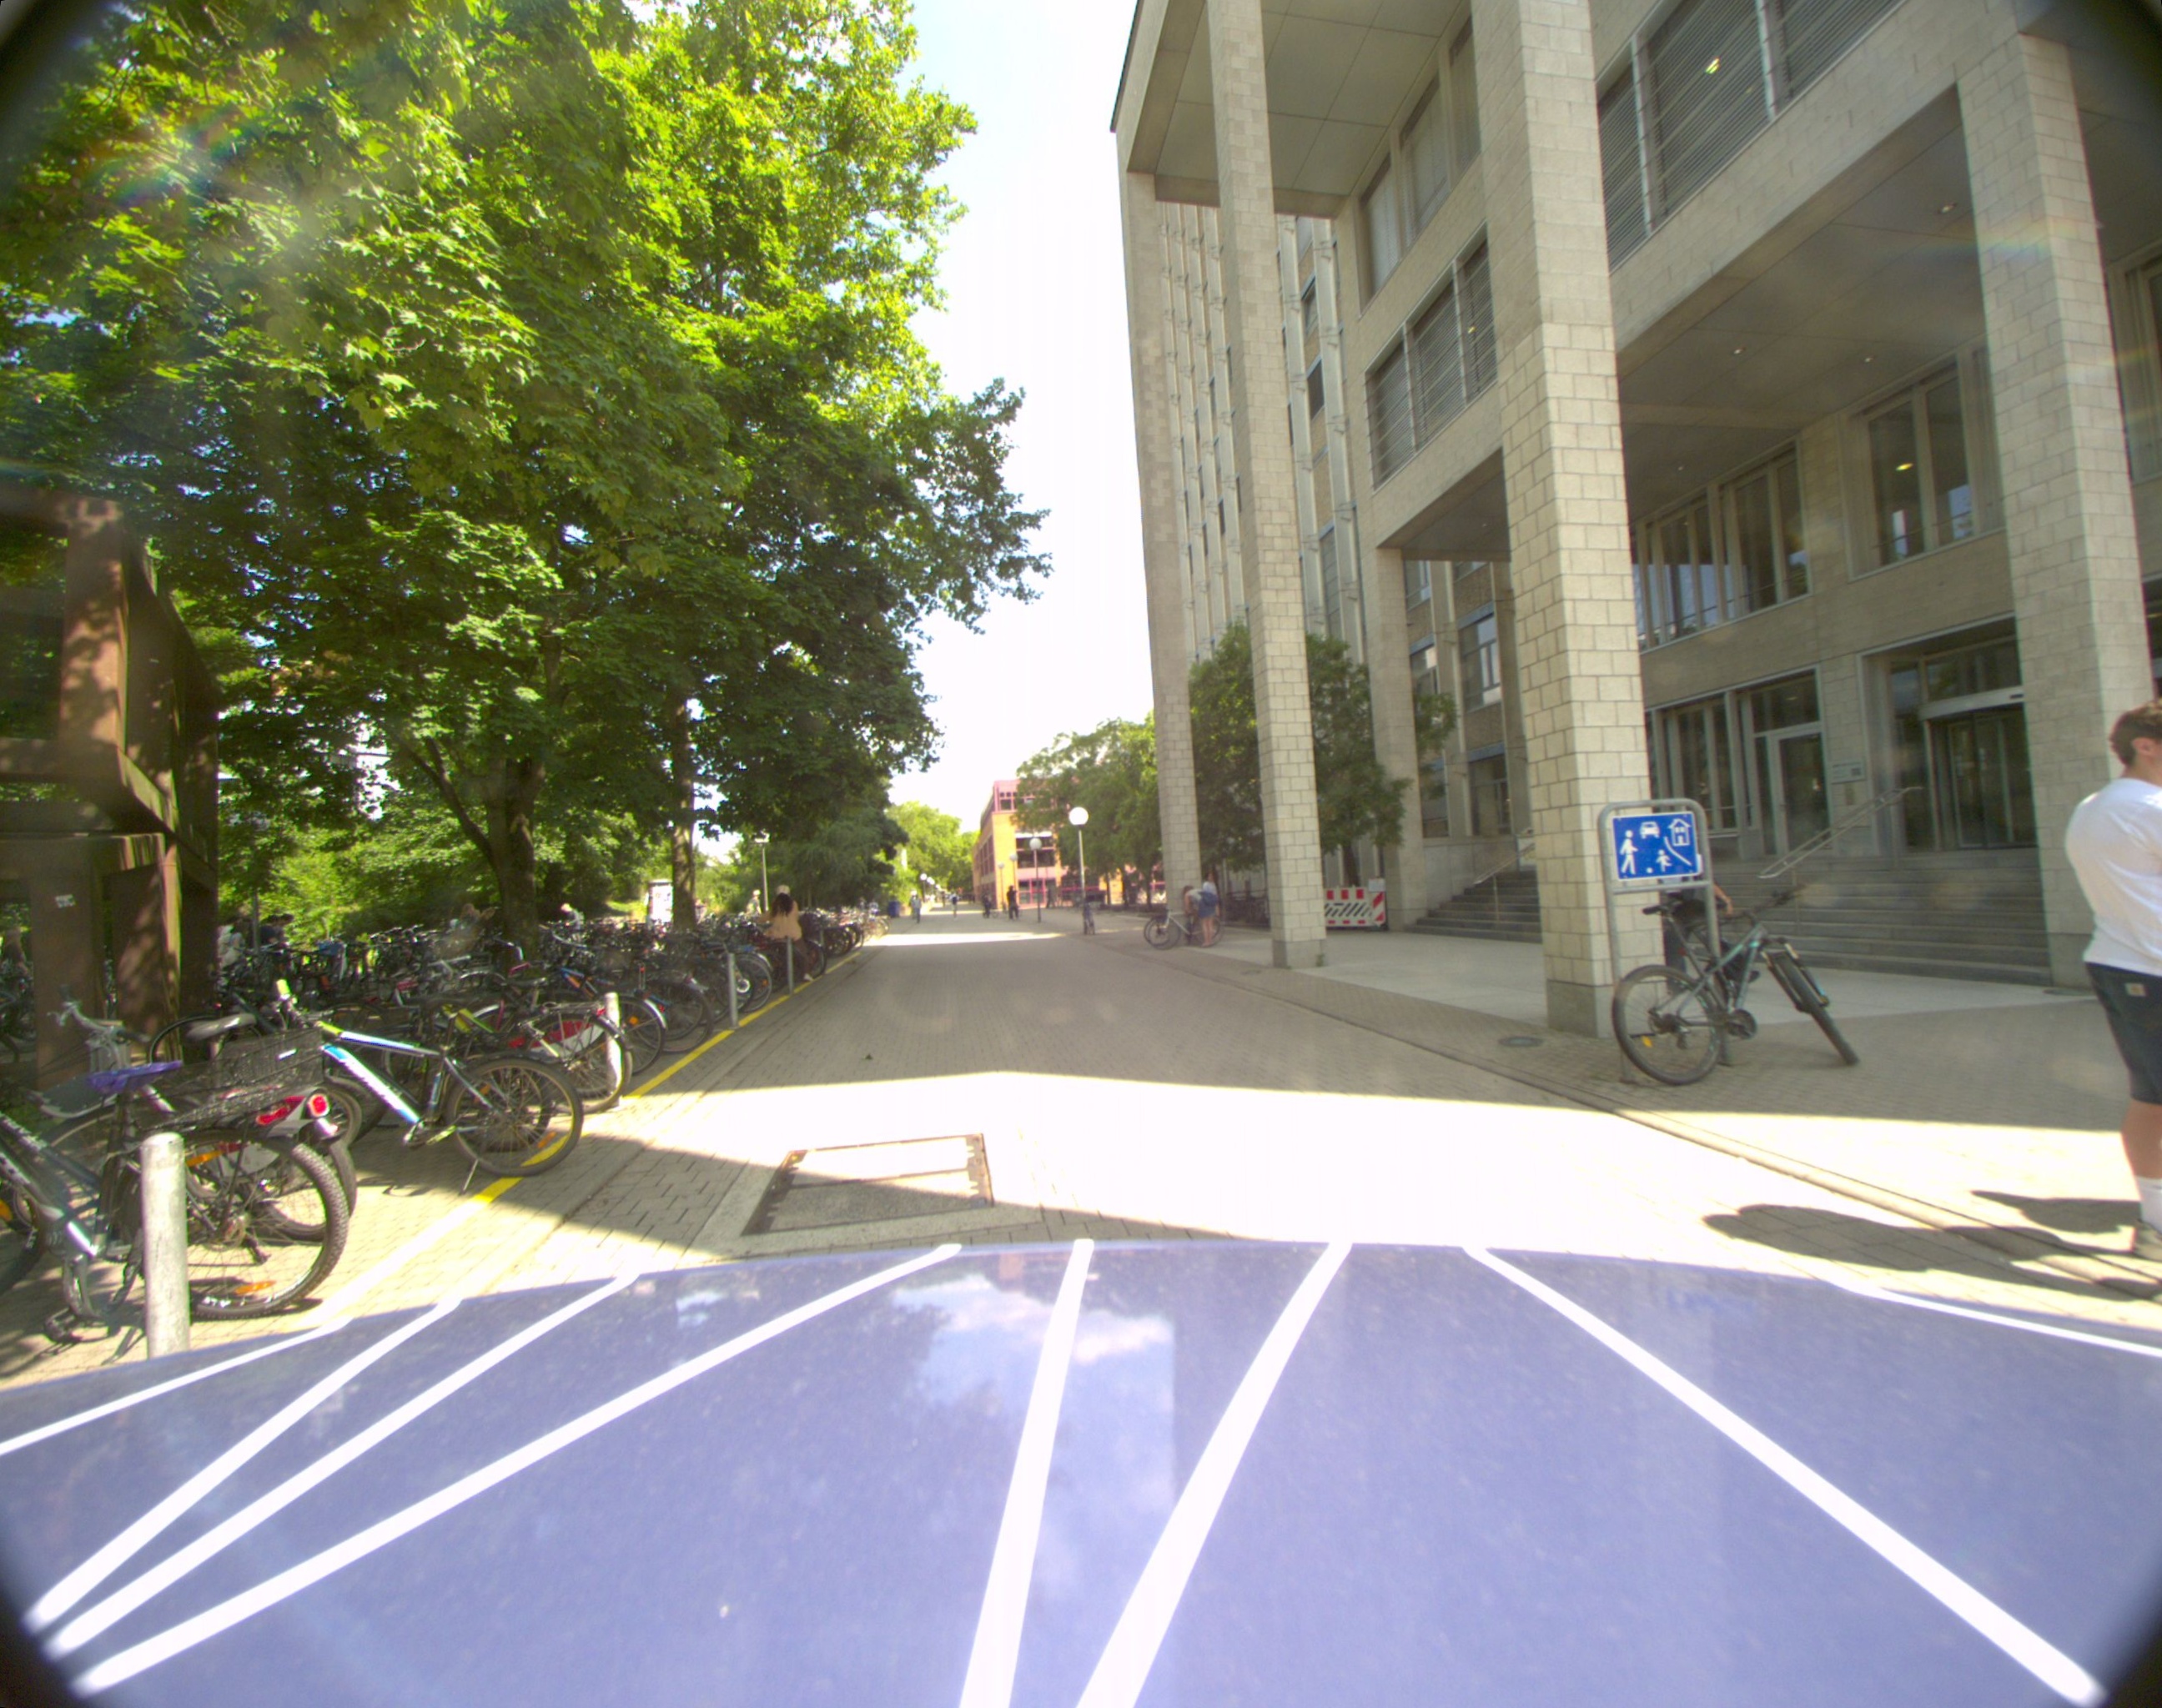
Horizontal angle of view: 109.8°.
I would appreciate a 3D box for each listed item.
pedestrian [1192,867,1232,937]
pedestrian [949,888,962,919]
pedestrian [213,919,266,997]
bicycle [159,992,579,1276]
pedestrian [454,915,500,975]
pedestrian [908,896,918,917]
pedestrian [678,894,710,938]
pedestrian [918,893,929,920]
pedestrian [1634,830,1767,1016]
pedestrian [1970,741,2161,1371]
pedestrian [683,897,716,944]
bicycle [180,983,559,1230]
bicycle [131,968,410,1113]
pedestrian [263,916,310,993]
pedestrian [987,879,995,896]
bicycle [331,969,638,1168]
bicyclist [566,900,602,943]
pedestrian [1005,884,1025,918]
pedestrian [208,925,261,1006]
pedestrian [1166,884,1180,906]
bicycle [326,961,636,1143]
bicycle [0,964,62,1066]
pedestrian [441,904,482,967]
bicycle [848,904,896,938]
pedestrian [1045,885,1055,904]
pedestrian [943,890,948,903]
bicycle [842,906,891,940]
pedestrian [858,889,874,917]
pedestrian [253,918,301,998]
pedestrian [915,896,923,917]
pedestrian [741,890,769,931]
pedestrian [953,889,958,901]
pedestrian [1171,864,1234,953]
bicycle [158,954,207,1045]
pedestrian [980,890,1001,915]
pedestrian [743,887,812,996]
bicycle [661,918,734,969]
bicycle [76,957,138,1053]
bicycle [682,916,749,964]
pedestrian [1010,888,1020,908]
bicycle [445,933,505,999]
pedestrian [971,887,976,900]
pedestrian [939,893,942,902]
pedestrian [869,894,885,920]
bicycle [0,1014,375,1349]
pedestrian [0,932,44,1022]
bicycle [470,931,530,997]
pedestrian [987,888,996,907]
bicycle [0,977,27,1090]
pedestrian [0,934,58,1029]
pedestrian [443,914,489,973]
[{"bbox_3d":[3.407,1.251,19.799,0.749,1.729,0.938,-4,-2,-2],"label":"pedestrian"},{"bbox_3d":[-7.556,2.981,45.766,0.565,1.753,0.802,-3,1,-21],"label":"pedestrian"},{"bbox_3d":[-20.288,2.492,18.339,0.722,1.764,0.743,-2,-2,-40],"label":"pedestrian"},{"bbox_3d":[-3.378,1.301,3.718,1.441,1.079,0.460,-2,0,-12],"label":"bicycle"},{"bbox_3d":[-16.513,2.482,20.776,0.743,1.559,0.722,-3,-1,32],"label":"pedestrian"},{"bbox_3d":[-12.868,4.044,58.329,0.691,1.503,0.514,-2,1,-12],"label":"pedestrian"},{"bbox_3d":[-14.399,2.301,28.289,0.744,1.559,0.721,-3,-1,-2],"label":"pedestrian"},{"bbox_3d":[-9.226,3.085,44.526,0.515,1.503,0.691,-2,1,-8],"label":"pedestrian"},{"bbox_3d":[6.139,0.658,7.550,0.686,1.723,0.689,-3,-2,-25],"label":"pedestrian"},{"bbox_3d":[3.521,0.589,2.307,0.686,1.879,0.687,-4,-2,-13],"label":"pedestrian"},{"bbox_3d":[-13.178,2.277,26.249,0.744,1.559,0.721,-3,-1,-2],"label":"pedestrian"},{"bbox_3d":[-3.780,1.318,4.128,1.474,1.079,0.460,-2,0,-9],"label":"bicycle"},{"bbox_3d":[-6.940,1.586,6.552,1.826,1.071,0.464,-2,0,-2],"label":"bicycle"},{"bbox_3d":[-19.188,2.403,18.367,0.722,1.764,0.743,-2,-2,-44],"label":"pedestrian"},{"bbox_3d":[-9.805,3.627,82.984,0.744,1.753,0.974,-2,1,-11],"label":"pedestrian"},{"bbox_3d":[-3.785,1.345,4.900,1.515,1.079,0.482,-2,0,-5],"label":"bicycle"},{"bbox_3d":[-17.251,2.329,26.395,0.743,1.437,0.805,-4,-2,37],"label":"bicyclist"},{"bbox_3d":[-3.564,2.542,41.107,0.743,1.753,0.975,-2,1,13],"label":"pedestrian"},{"bbox_3d":[-19.660,2.564,17.666,0.722,1.764,0.743,-2,-2,-42],"label":"pedestrian"},{"bbox_3d":[7.676,3.444,63.563,0.973,1.753,0.745,-2,1,16],"label":"pedestrian"},{"bbox_3d":[-4.150,1.353,5.335,1.696,1.079,0.482,-2,0,-5],"label":"bicycle"},{"bbox_3d":[-14.221,2.130,10.240,1.840,1.163,0.414,-4,-2,41],"label":"bicycle"},{"bbox_3d":[-18.202,2.382,22.313,0.743,1.778,0.722,-4,-1,36],"label":"pedestrian"},{"bbox_3d":[-7.802,2.497,28.431,1.689,1.143,0.551,-2,-4,-15],"label":"bicycle"},{"bbox_3d":[-2.557,3.280,61.847,0.691,1.503,0.514,-2,1,-12],"label":"pedestrian"},{"bbox_3d":[-18.569,5.822,104.006,0.668,1.753,0.803,-2,1,-12],"label":"pedestrian"},{"bbox_3d":[-7.840,2.507,27.801,1.689,1.143,0.551,-2,-4,-15],"label":"bicycle"},{"bbox_3d":[-12.148,2.751,42.909,0.689,1.503,0.516,-1,2,37],"label":"pedestrian"},{"bbox_3d":[-18.765,2.411,17.732,0.655,1.764,0.722,-4,-2,42],"label":"pedestrian"},{"bbox_3d":[-11.779,3.813,55.250,0.515,1.502,0.691,-2,-2,-8],"label":"pedestrian"},{"bbox_3d":[-12.785,2.215,29.820,0.744,1.559,0.721,-3,-1,-2],"label":"pedestrian"},{"bbox_3d":[-18.799,6.126,114.121,0.565,1.753,0.803,-2,1,-4],"label":"pedestrian"},{"bbox_3d":[2.513,1.117,15.731,0.750,1.729,0.936,-3,-2,-29],"label":"pedestrian"},{"bbox_3d":[-13.307,2.117,11.276,1.840,1.163,0.414,-4,-2,41],"label":"bicycle"},{"bbox_3d":[-5.951,3.164,49.890,0.727,1.503,1.208,-1,1,32],"label":"pedestrian"},{"bbox_3d":[-5.011,1.429,12.577,0.945,1.692,0.428,-3,-3,-14],"label":"pedestrian"},{"bbox_3d":[-9.121,2.113,18.107,1.472,1.077,0.352,-3,-1,-14],"label":"bicycle"},{"bbox_3d":[-13.926,2.116,10.889,1.840,1.163,0.414,-4,-2,41],"label":"bicycle"},{"bbox_3d":[-9.214,2.164,19.195,1.473,1.077,0.352,-3,-2,-23],"label":"bicycle"},{"bbox_3d":[-5.417,3.605,62.286,0.691,1.503,0.514,-2,1,-12],"label":"pedestrian"},{"bbox_3d":[-11.392,2.073,14.267,1.840,1.163,0.346,-4,-1,35],"label":"bicycle"},{"bbox_3d":[-15.792,5.808,111.433,0.565,1.753,0.803,-2,1,-4],"label":"pedestrian"},{"bbox_3d":[-30.898,9.590,166.816,0.532,1.837,0.659,-3,-1,-8],"label":"pedestrian"},{"bbox_3d":[-12.184,3.171,45.318,0.689,1.503,0.516,-1,2,37],"label":"pedestrian"},{"bbox_3d":[-3.880,1.292,3.182,1.524,1.134,0.492,-2,0,9],"label":"bicycle"},{"bbox_3d":[-22.028,2.518,15.584,0.722,1.764,0.743,-2,-2,-41],"label":"pedestrian"},{"bbox_3d":[-11.077,2.073,14.473,1.840,1.163,0.346,-4,-1,35],"label":"bicycle"},{"bbox_3d":[-8.925,4.299,75.580,0.744,1.753,0.974,-2,1,-11],"label":"pedestrian"},{"bbox_3d":[-11.536,1.859,7.229,0.474,1.103,1.673,-5,-1,43],"label":"bicycle"},{"bbox_3d":[-20.993,2.496,14.974,0.814,1.764,0.852,-2,-2,-42],"label":"pedestrian"},{"bbox_3d":[-17.168,2.496,21.213,0.743,1.559,0.722,-3,-1,27],"label":"pedestrian"}]
